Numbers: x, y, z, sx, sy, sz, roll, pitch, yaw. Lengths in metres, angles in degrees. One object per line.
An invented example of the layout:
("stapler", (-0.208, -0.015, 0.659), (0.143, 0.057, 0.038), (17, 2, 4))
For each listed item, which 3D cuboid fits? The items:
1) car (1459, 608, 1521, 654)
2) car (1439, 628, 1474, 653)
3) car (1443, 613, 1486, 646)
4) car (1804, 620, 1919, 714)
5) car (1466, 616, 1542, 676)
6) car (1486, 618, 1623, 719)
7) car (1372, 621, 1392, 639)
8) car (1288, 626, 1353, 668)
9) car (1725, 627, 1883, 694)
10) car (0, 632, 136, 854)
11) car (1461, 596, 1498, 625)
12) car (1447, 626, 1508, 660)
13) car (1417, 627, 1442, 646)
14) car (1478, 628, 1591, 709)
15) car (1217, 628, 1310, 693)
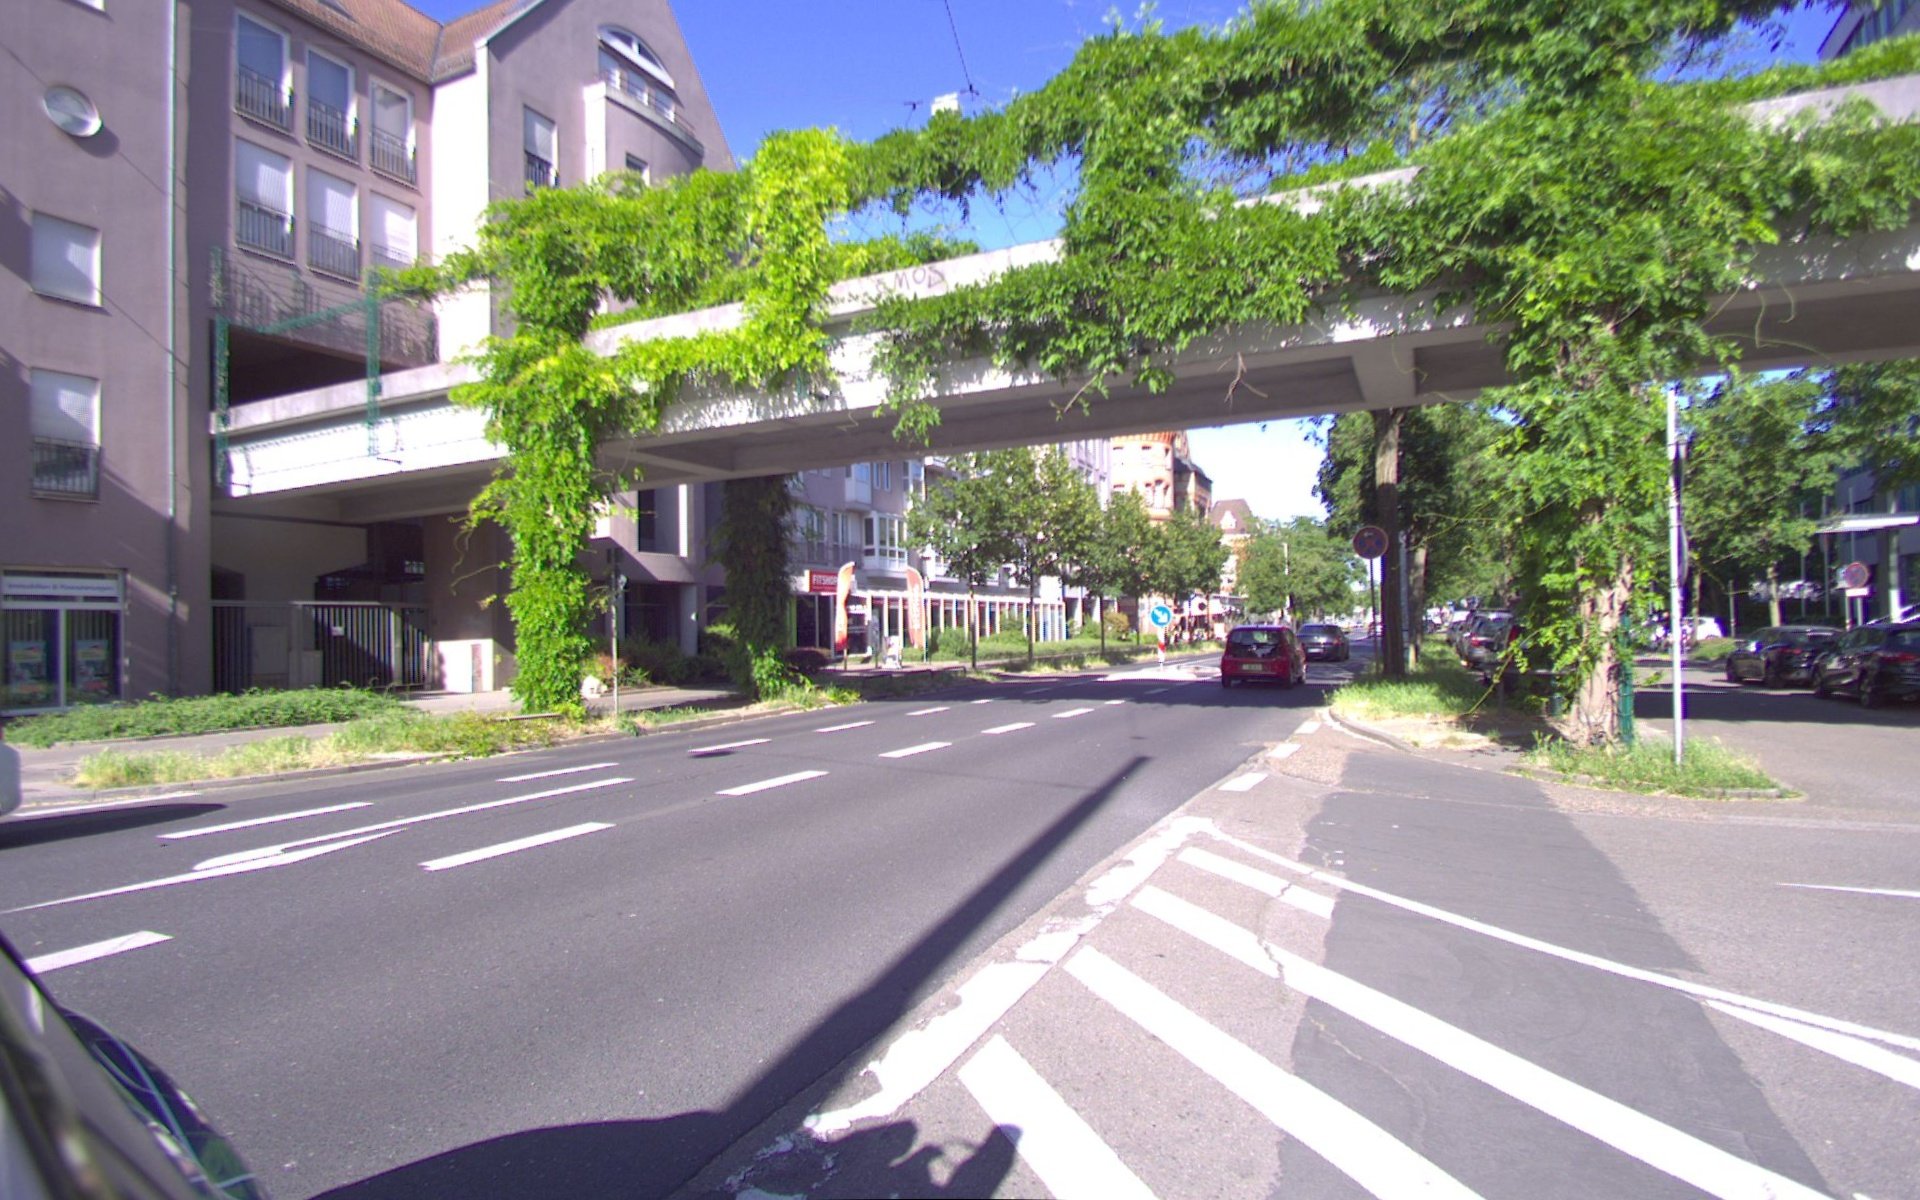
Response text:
("car", (19.565, 1.136, 37.478), (1.725, 1.561, 4.411), (-2, -2, 25))
("car", (28.050, 2.265, 57.259), (1.671, 1.343, 4.152), (-2, -2, 25))
("car", (30.714, 1.797, 61.691), (2.059, 1.923, 4.489), (-2, -2, 24))
("car", (17.057, 1.140, 18.315), (1.728, 1.542, 3.966), (-1, -2, 25))
("car", (16.211, 1.350, 30.322), (1.769, 1.659, 4.047), (-2, -2, 25))
("car", (10.358, 1.111, 17.875), (1.736, 1.550, 3.746), (1, -1, 25))
("car", (36.943, 2.601, 88.571), (1.464, 1.539, 2.791), (-2, -2, 26))
("car", (13.902, 1.765, 38.930), (1.862, 1.469, 4.552), (-1, -2, 26))
("car", (19.411, 1.337, 23.470), (1.675, 1.414, 3.773), (-1, -2, 22))
("car", (-7.951, 1.004, 6.317), (1.655, 1.542, 4.065), (-2, -2, 24))
("car", (37.889, 0.818, 73.913), (1.987, 2.029, 4.263), (-2, -2, 23))
("car", (22.584, 1.844, 44.328), (1.708, 1.394, 4.464), (-2, -2, 19))
("car", (38.046, 2.924, 81.922), (1.732, 1.501, 3.965), (-2, -2, 26))
("car", (12.214, 1.381, 21.750), (1.648, 1.459, 4.247), (2, 0, 24))
("car", (7.397, 1.413, 24.473), (1.647, 1.439, 3.477), (-2, -2, 25))
